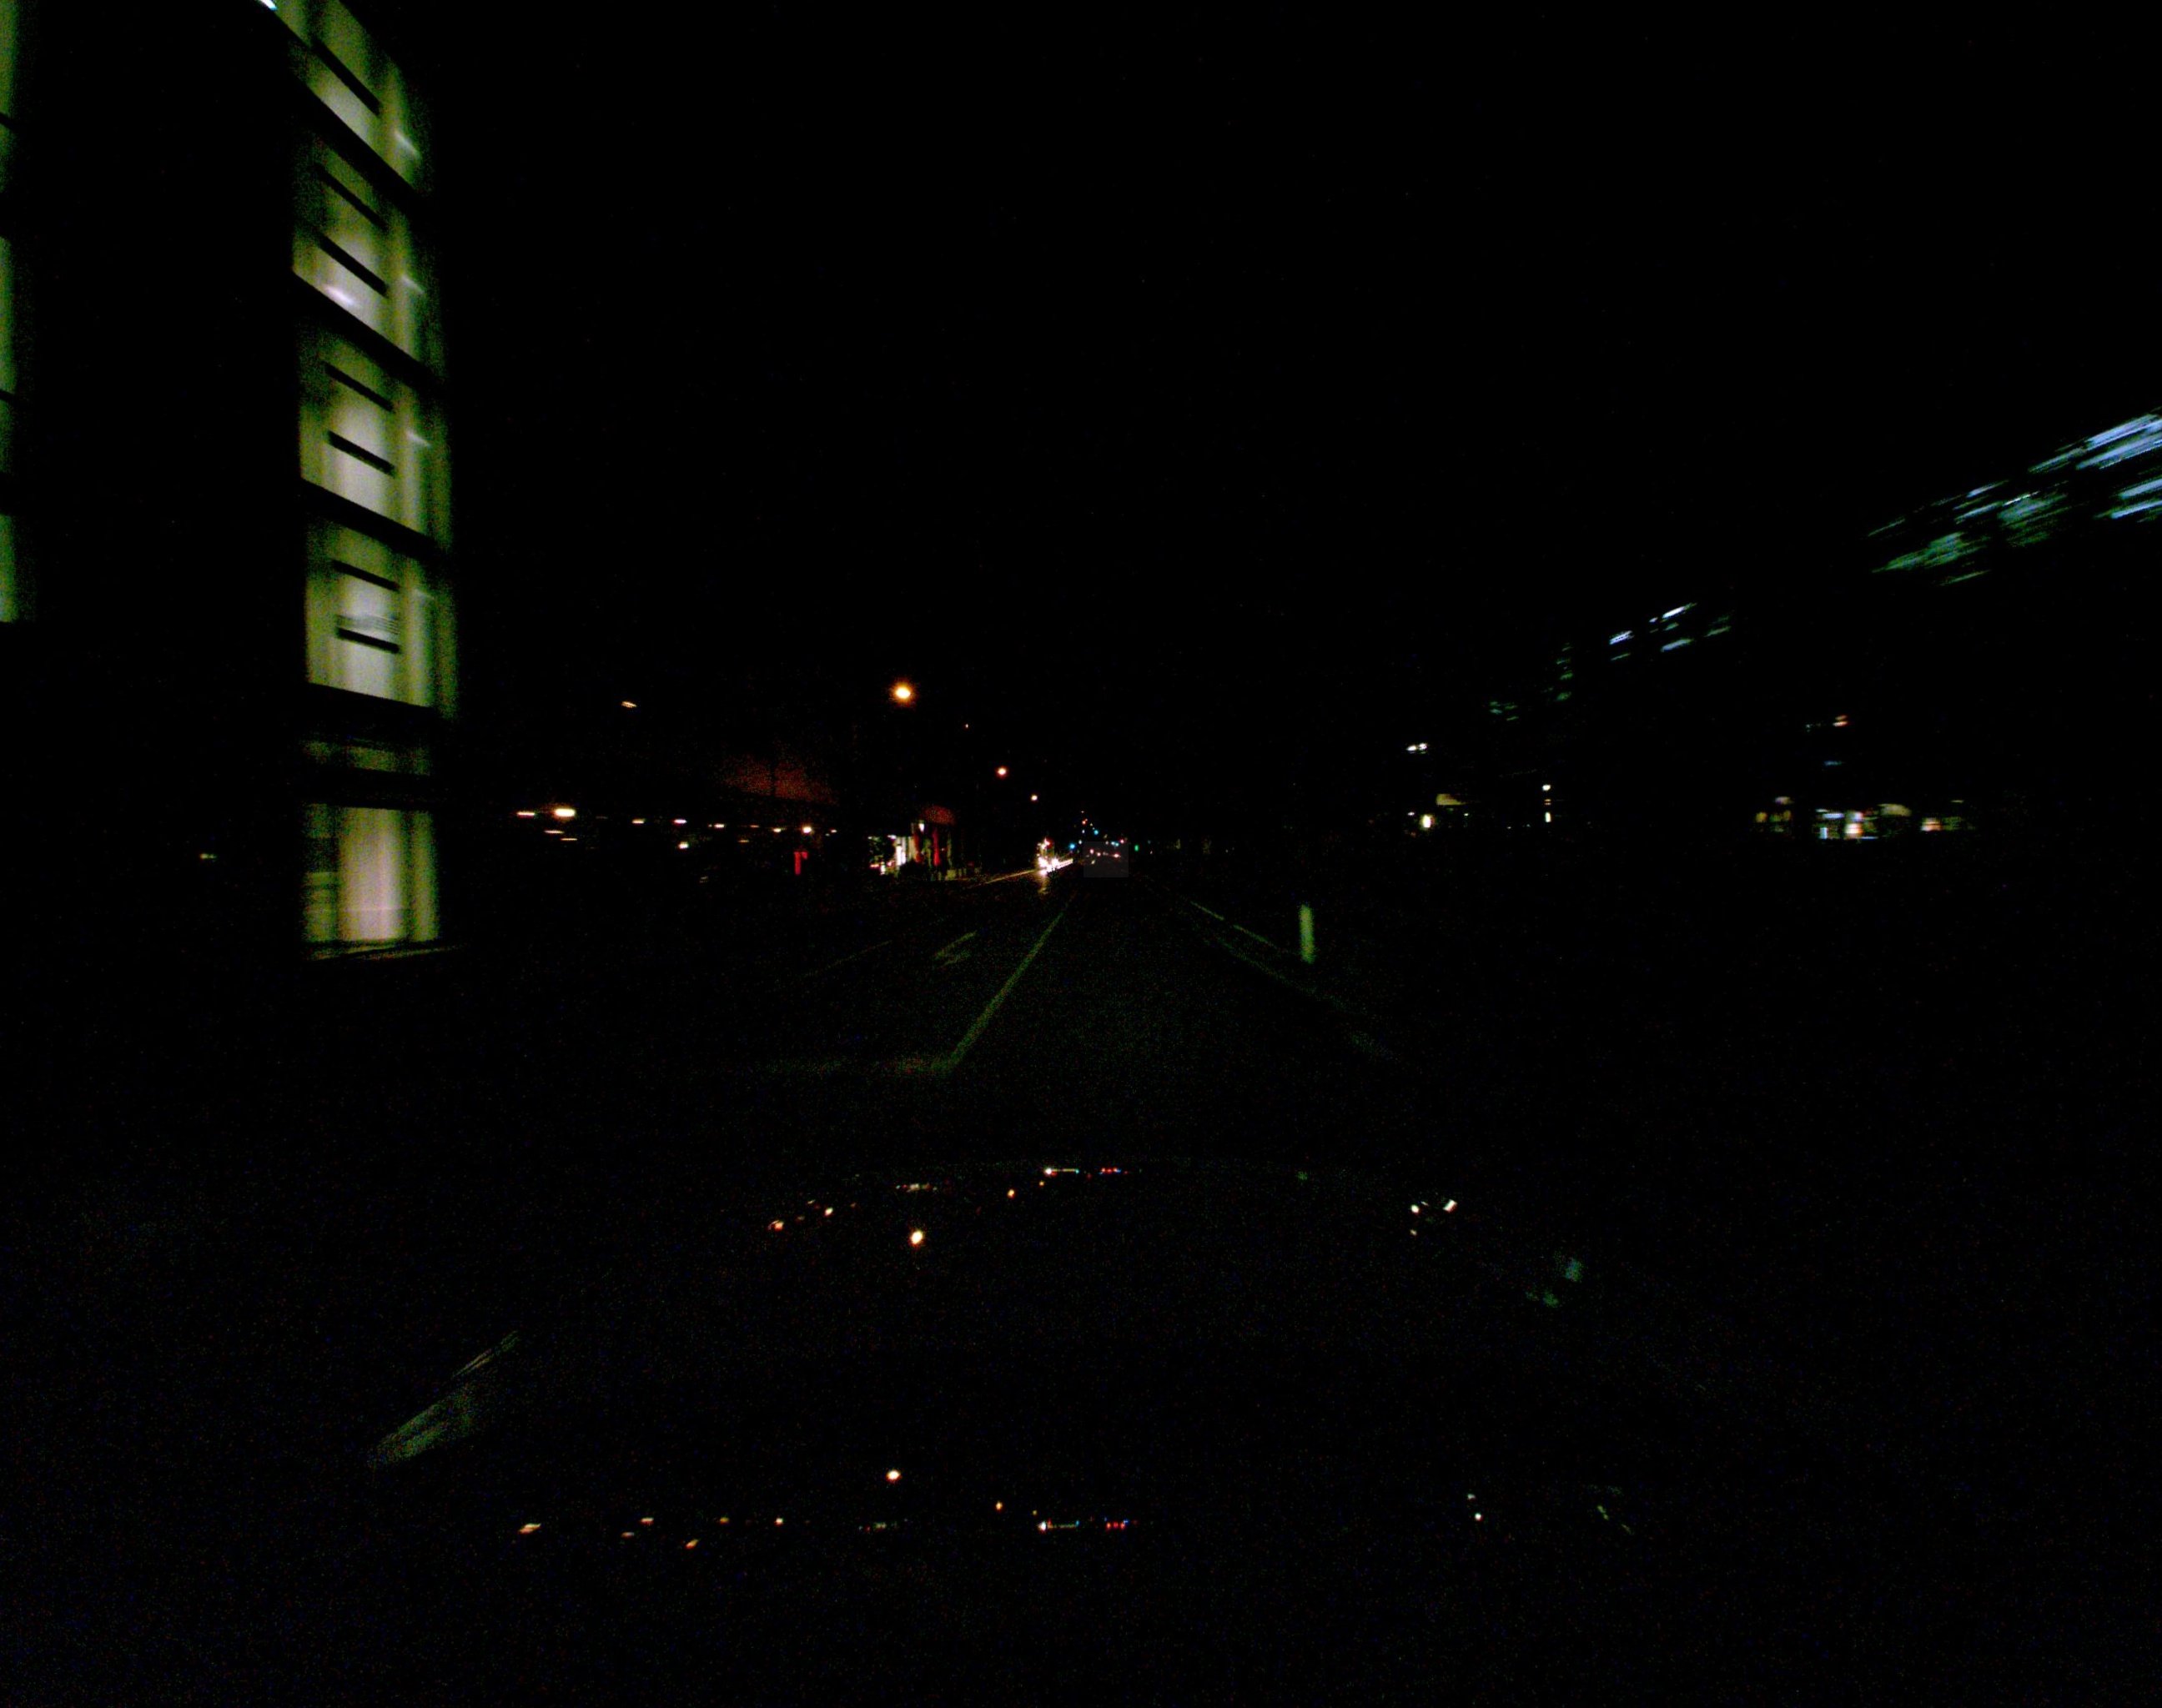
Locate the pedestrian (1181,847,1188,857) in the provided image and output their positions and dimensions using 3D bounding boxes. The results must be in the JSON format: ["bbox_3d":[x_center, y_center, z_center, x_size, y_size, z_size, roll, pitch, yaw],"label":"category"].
[{"bbox_3d":[17.768,-0.331,139.518,0.900,1.769,0.905,-3,0,-7],"label":"pedestrian"}]

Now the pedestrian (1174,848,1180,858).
[{"bbox_3d":[16.435,-0.199,139.224,0.736,1.769,0.907,-3,0,1],"label":"pedestrian"}]

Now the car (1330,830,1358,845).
[{"bbox_3d":[29.062,-1.797,90.007,1.762,1.533,4.100,-3,0,1],"label":"car"}]

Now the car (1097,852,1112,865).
[{"bbox_3d":[2.852,0.536,97.885,1.798,1.494,4.732,0,0,2],"label":"car"}]

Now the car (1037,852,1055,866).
[{"bbox_3d":[-3.835,0.505,90.316,1.661,1.428,4.000,-4,0,0],"label":"car"}]

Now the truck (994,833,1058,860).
[{"bbox_3d":[-9.054,-1.238,134.011,10.083,3.717,2.754,-4,0,-11],"label":"truck"}]

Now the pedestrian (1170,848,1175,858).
[{"bbox_3d":[15.588,-0.184,139.174,0.711,1.769,0.907,-3,0,1],"label":"pedestrian"}]
